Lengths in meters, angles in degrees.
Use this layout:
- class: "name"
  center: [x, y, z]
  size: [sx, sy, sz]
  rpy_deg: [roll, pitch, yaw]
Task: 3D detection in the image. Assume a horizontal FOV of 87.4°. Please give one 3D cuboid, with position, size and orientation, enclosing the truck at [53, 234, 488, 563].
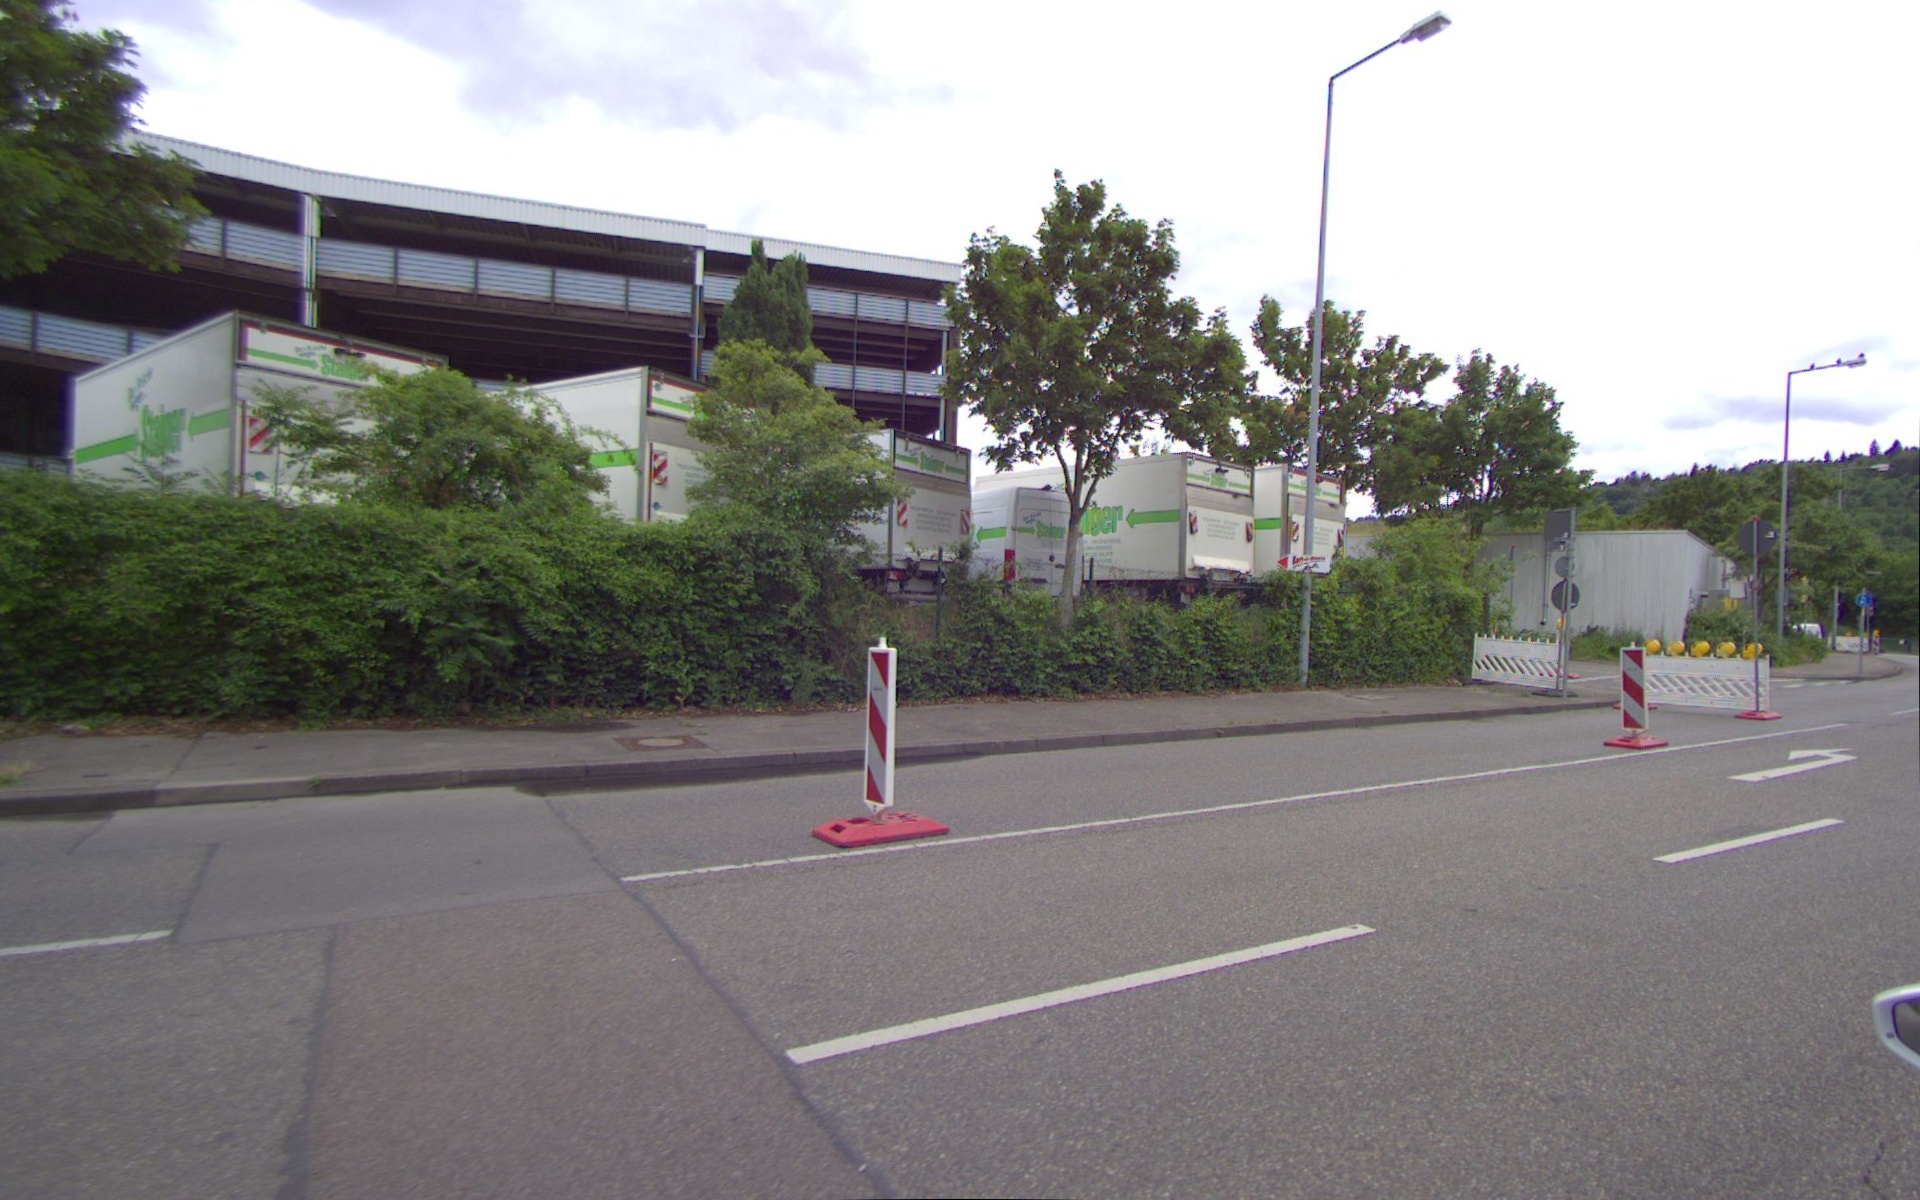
- class: "truck"
  center: [-10.752, -2.563, 15.308]
  size: [7.741, 3.584, 3.041]
  rpy_deg: [3, -1, 38]

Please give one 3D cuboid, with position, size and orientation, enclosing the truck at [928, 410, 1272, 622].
- class: "truck"
  center: [2.969, -1.747, 23.634]
  size: [3.030, 4.043, 7.770]
  rpy_deg: [4, -1, -41]

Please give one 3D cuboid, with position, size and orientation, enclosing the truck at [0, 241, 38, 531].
- class: "truck"
  center: [-15.930, -2.937, 13.572]
  size: [7.730, 3.584, 3.046]
  rpy_deg: [3, -1, 33]

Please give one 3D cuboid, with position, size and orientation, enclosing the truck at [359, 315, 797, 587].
- class: "truck"
  center: [-6.809, -2.268, 17.403]
  size: [7.734, 3.584, 3.044]
  rpy_deg: [3, -1, 34]

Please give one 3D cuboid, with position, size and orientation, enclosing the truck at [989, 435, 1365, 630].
- class: "truck"
  center: [5.134, -1.564, 26.084]
  size: [3.028, 4.043, 9.540]
  rpy_deg: [4, -1, -39]

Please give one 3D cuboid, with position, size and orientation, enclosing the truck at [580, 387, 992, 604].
- class: "truck"
  center: [-3.546, -1.832, 19.395]
  size: [7.734, 3.292, 3.044]
  rpy_deg: [3, -1, 34]

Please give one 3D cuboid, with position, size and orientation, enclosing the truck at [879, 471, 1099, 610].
- class: "truck"
  center: [0.469, -1.149, 21.107]
  size: [2.174, 2.437, 4.658]
  rpy_deg: [4, -1, -34]

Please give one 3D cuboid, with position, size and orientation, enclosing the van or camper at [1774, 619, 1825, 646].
- class: "van or camper"
  center: [85.216, 3.333, 101.909]
  size: [6.581, 2.356, 1.997]
  rpy_deg: [5, -1, -32]
